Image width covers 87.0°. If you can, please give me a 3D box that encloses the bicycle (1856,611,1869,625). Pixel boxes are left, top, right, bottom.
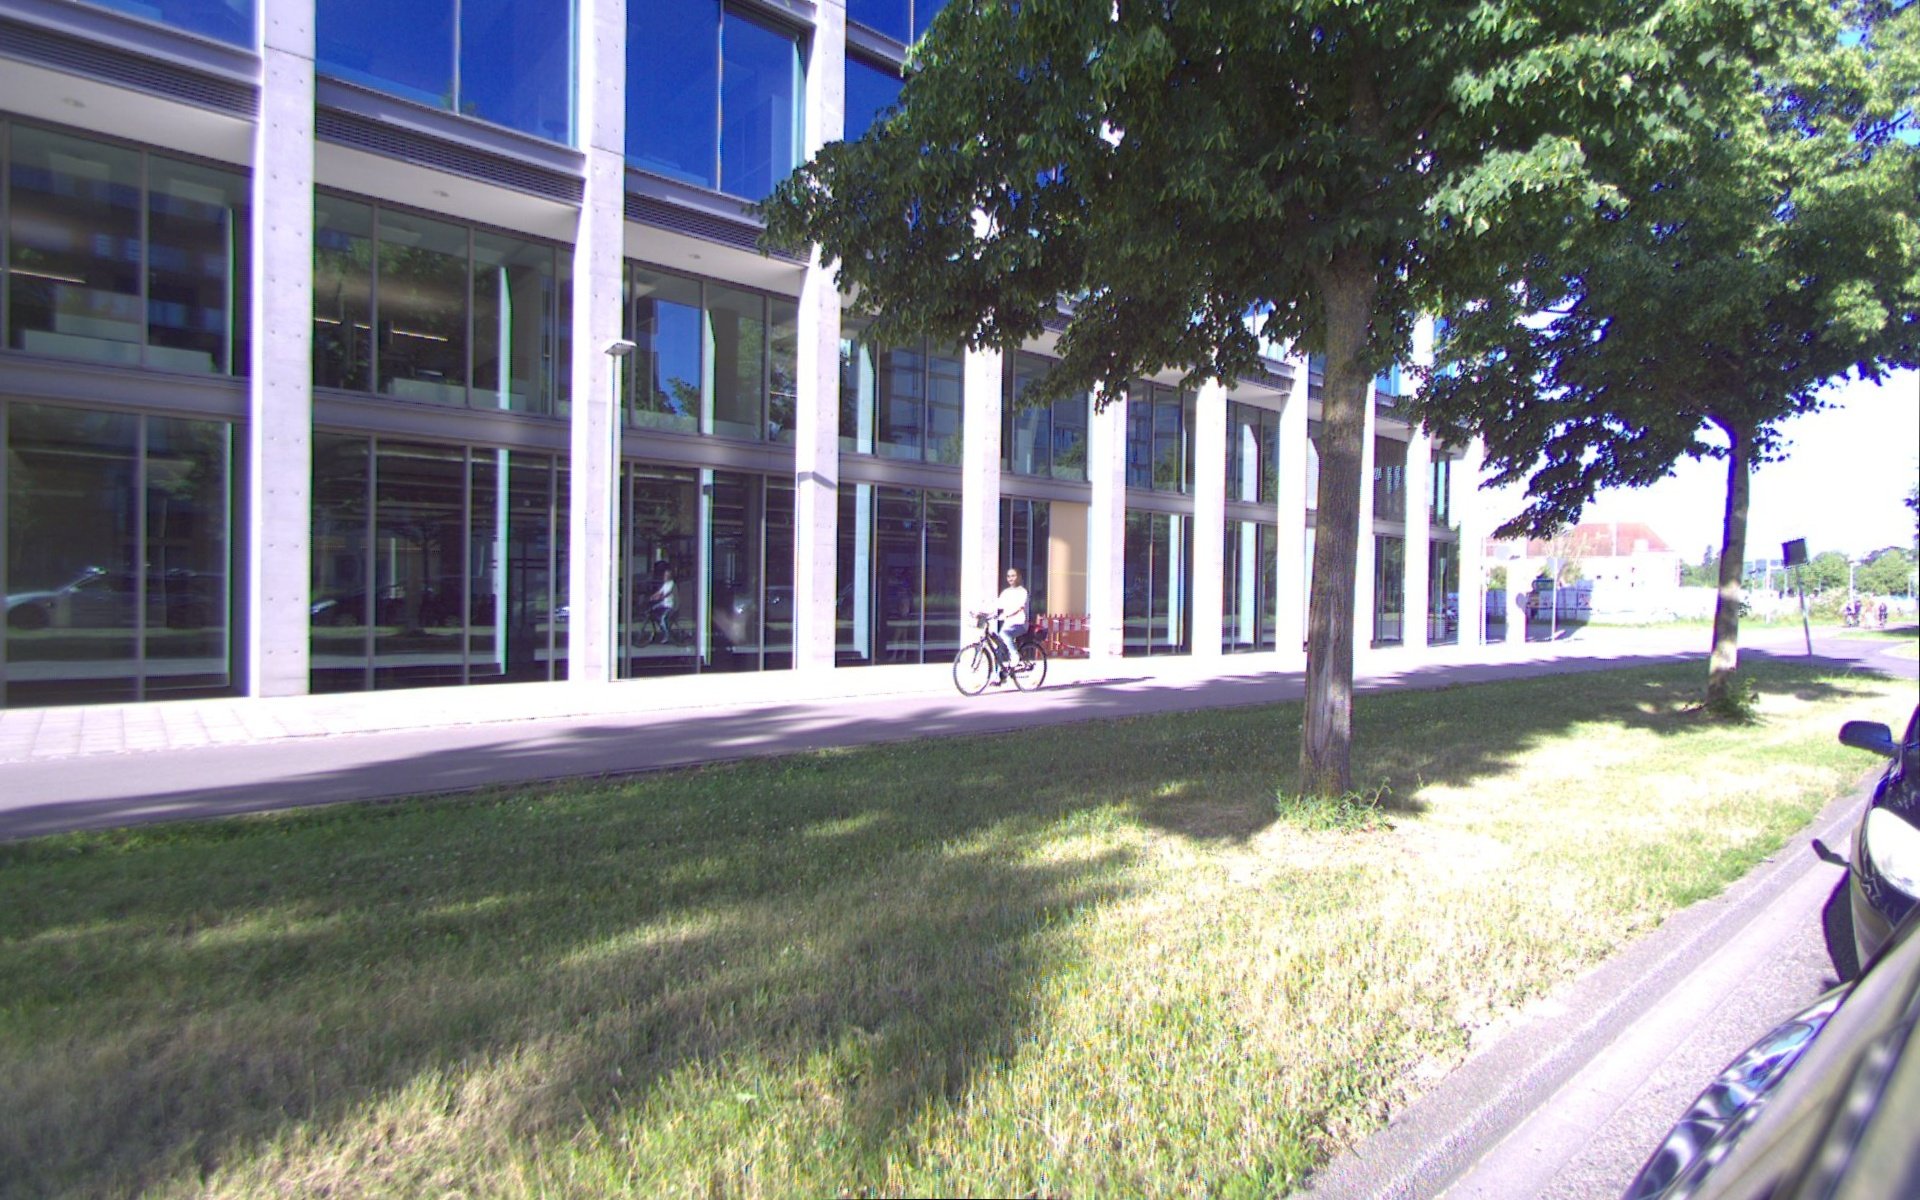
[{"bbox_3d":[56.620,1.142,63.497,1.296,0.828,0.415,-1,0,-40],"label":"bicycle"}]

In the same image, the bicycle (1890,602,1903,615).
[{"bbox_3d":[60.419,0.538,65.316,1.321,0.828,0.464,-1,0,-40],"label":"bicycle"}]

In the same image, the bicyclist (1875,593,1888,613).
[{"bbox_3d":[57.274,0.153,62.868,0.498,1.232,0.534,0,0,-40],"label":"bicyclist"}]

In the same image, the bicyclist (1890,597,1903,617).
[{"bbox_3d":[60.405,0.435,65.259,0.512,1.305,0.534,0,0,-40],"label":"bicyclist"}]

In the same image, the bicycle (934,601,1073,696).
[{"bbox_3d":[0.634,0.631,14.084,1.927,1.188,0.743,0,2,-41],"label":"bicycle"}]

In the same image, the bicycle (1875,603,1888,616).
[{"bbox_3d":[57.223,0.585,62.839,1.321,0.828,0.464,-1,0,-40],"label":"bicycle"}]

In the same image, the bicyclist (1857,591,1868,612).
[{"bbox_3d":[56.574,0.115,63.466,0.410,1.305,0.448,0,0,-40],"label":"bicyclist"}]

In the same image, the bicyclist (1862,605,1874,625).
[{"bbox_3d":[59.408,0.999,66.219,0.449,1.305,0.534,0,0,-40],"label":"bicyclist"}]

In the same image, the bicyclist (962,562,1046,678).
[{"bbox_3d":[0.610,0.259,14.047,0.835,1.550,0.773,0,1,-41],"label":"bicyclist"}]

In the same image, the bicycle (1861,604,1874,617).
[{"bbox_3d":[59.432,0.687,66.245,1.321,0.828,0.464,-1,0,-40],"label":"bicycle"}]

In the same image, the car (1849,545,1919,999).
[{"bbox_3d":[5.095,0.594,4.152,3.719,1.541,1.685,0,1,-41],"label":"car"}]
